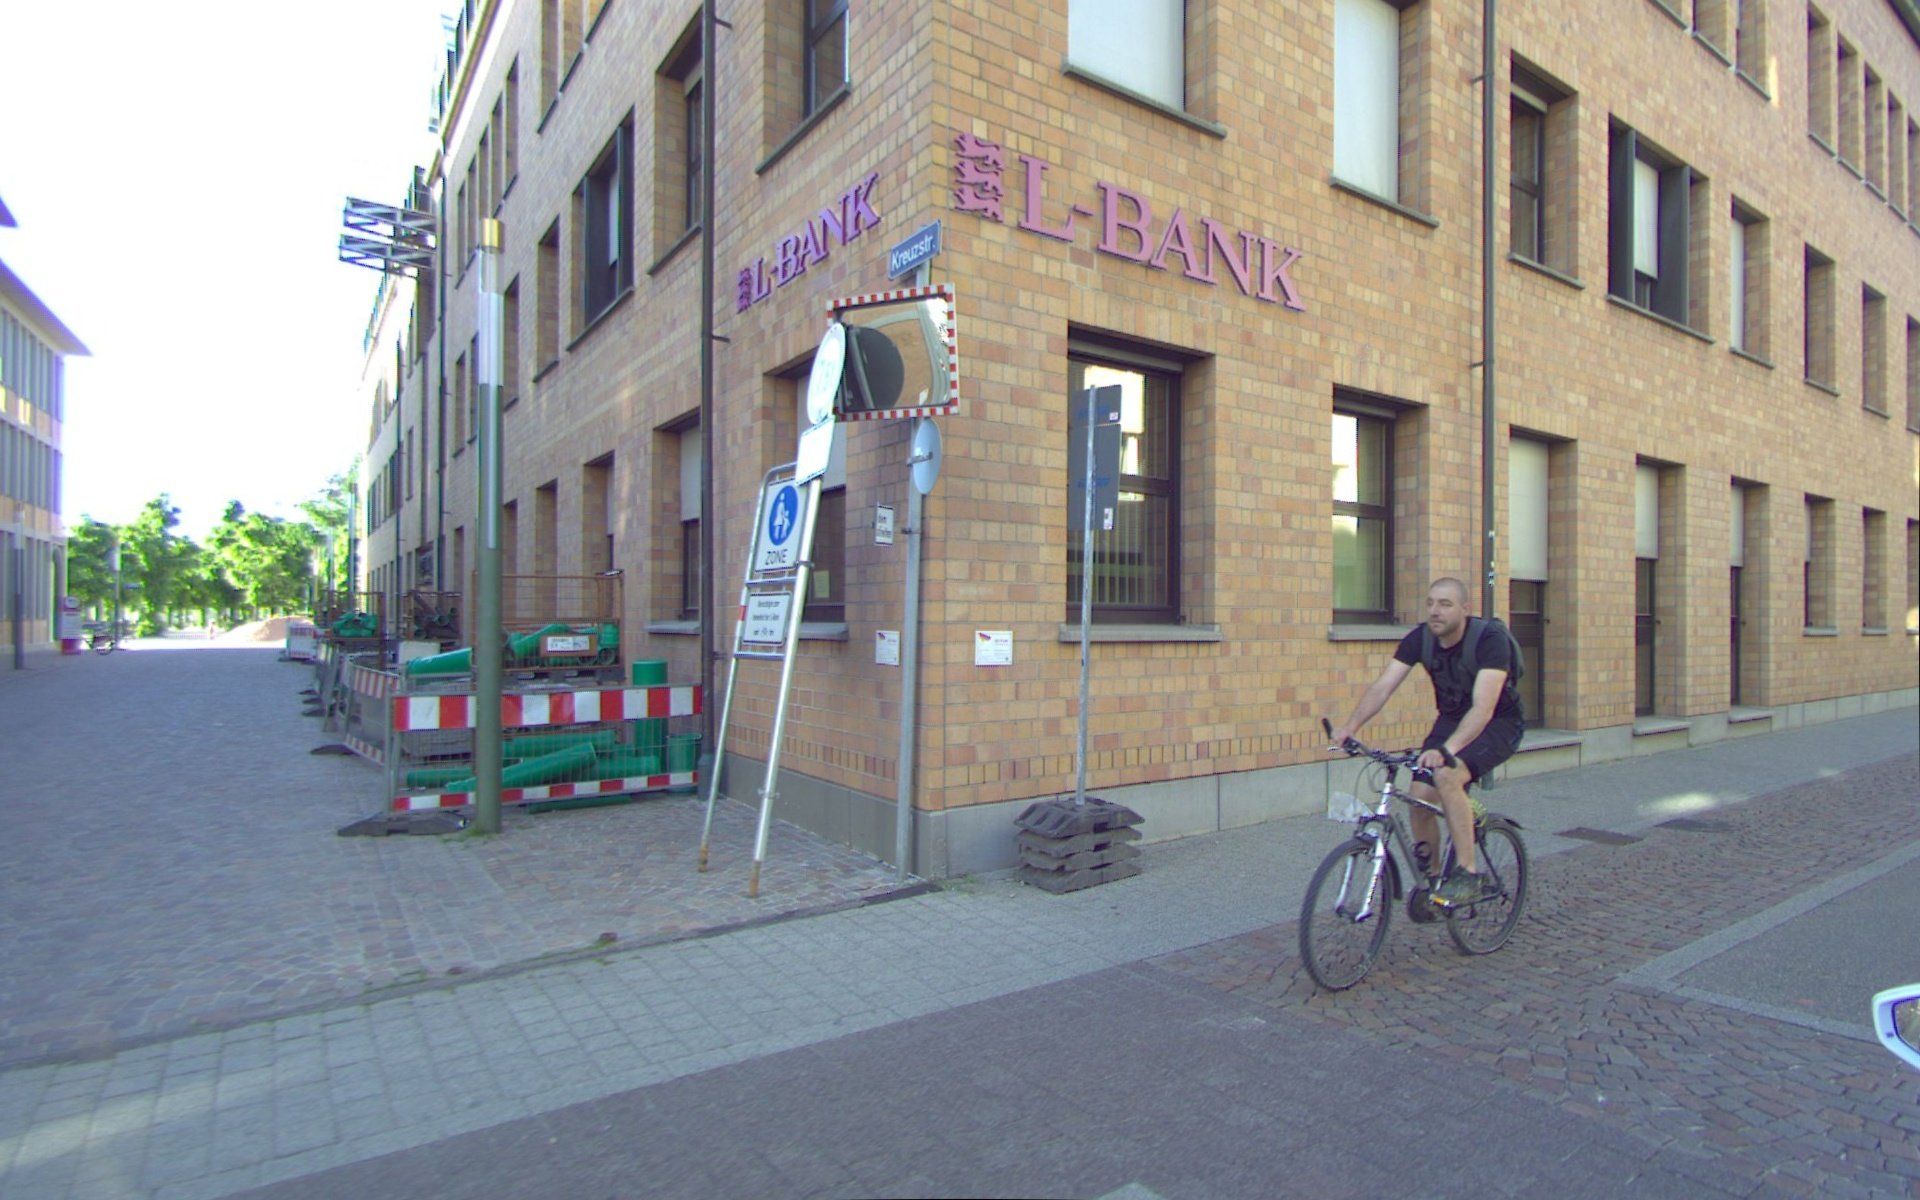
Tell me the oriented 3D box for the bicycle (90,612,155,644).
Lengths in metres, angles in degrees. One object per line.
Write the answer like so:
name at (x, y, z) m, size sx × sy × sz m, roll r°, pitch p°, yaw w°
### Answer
bicycle at (-34.898, 1.157, 41.890) m, size 0.709 × 1.277 × 2.075 m, roll 0°, pitch -1°, yaw 13°

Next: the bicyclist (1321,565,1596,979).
bicyclist at (2.260, 0.717, 4.583) m, size 0.914 × 1.663 × 0.659 m, roll 1°, pitch -4°, yaw -29°

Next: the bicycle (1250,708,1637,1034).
bicycle at (2.192, 1.099, 4.515) m, size 1.714 × 1.146 × 0.648 m, roll 1°, pitch -4°, yaw -29°
